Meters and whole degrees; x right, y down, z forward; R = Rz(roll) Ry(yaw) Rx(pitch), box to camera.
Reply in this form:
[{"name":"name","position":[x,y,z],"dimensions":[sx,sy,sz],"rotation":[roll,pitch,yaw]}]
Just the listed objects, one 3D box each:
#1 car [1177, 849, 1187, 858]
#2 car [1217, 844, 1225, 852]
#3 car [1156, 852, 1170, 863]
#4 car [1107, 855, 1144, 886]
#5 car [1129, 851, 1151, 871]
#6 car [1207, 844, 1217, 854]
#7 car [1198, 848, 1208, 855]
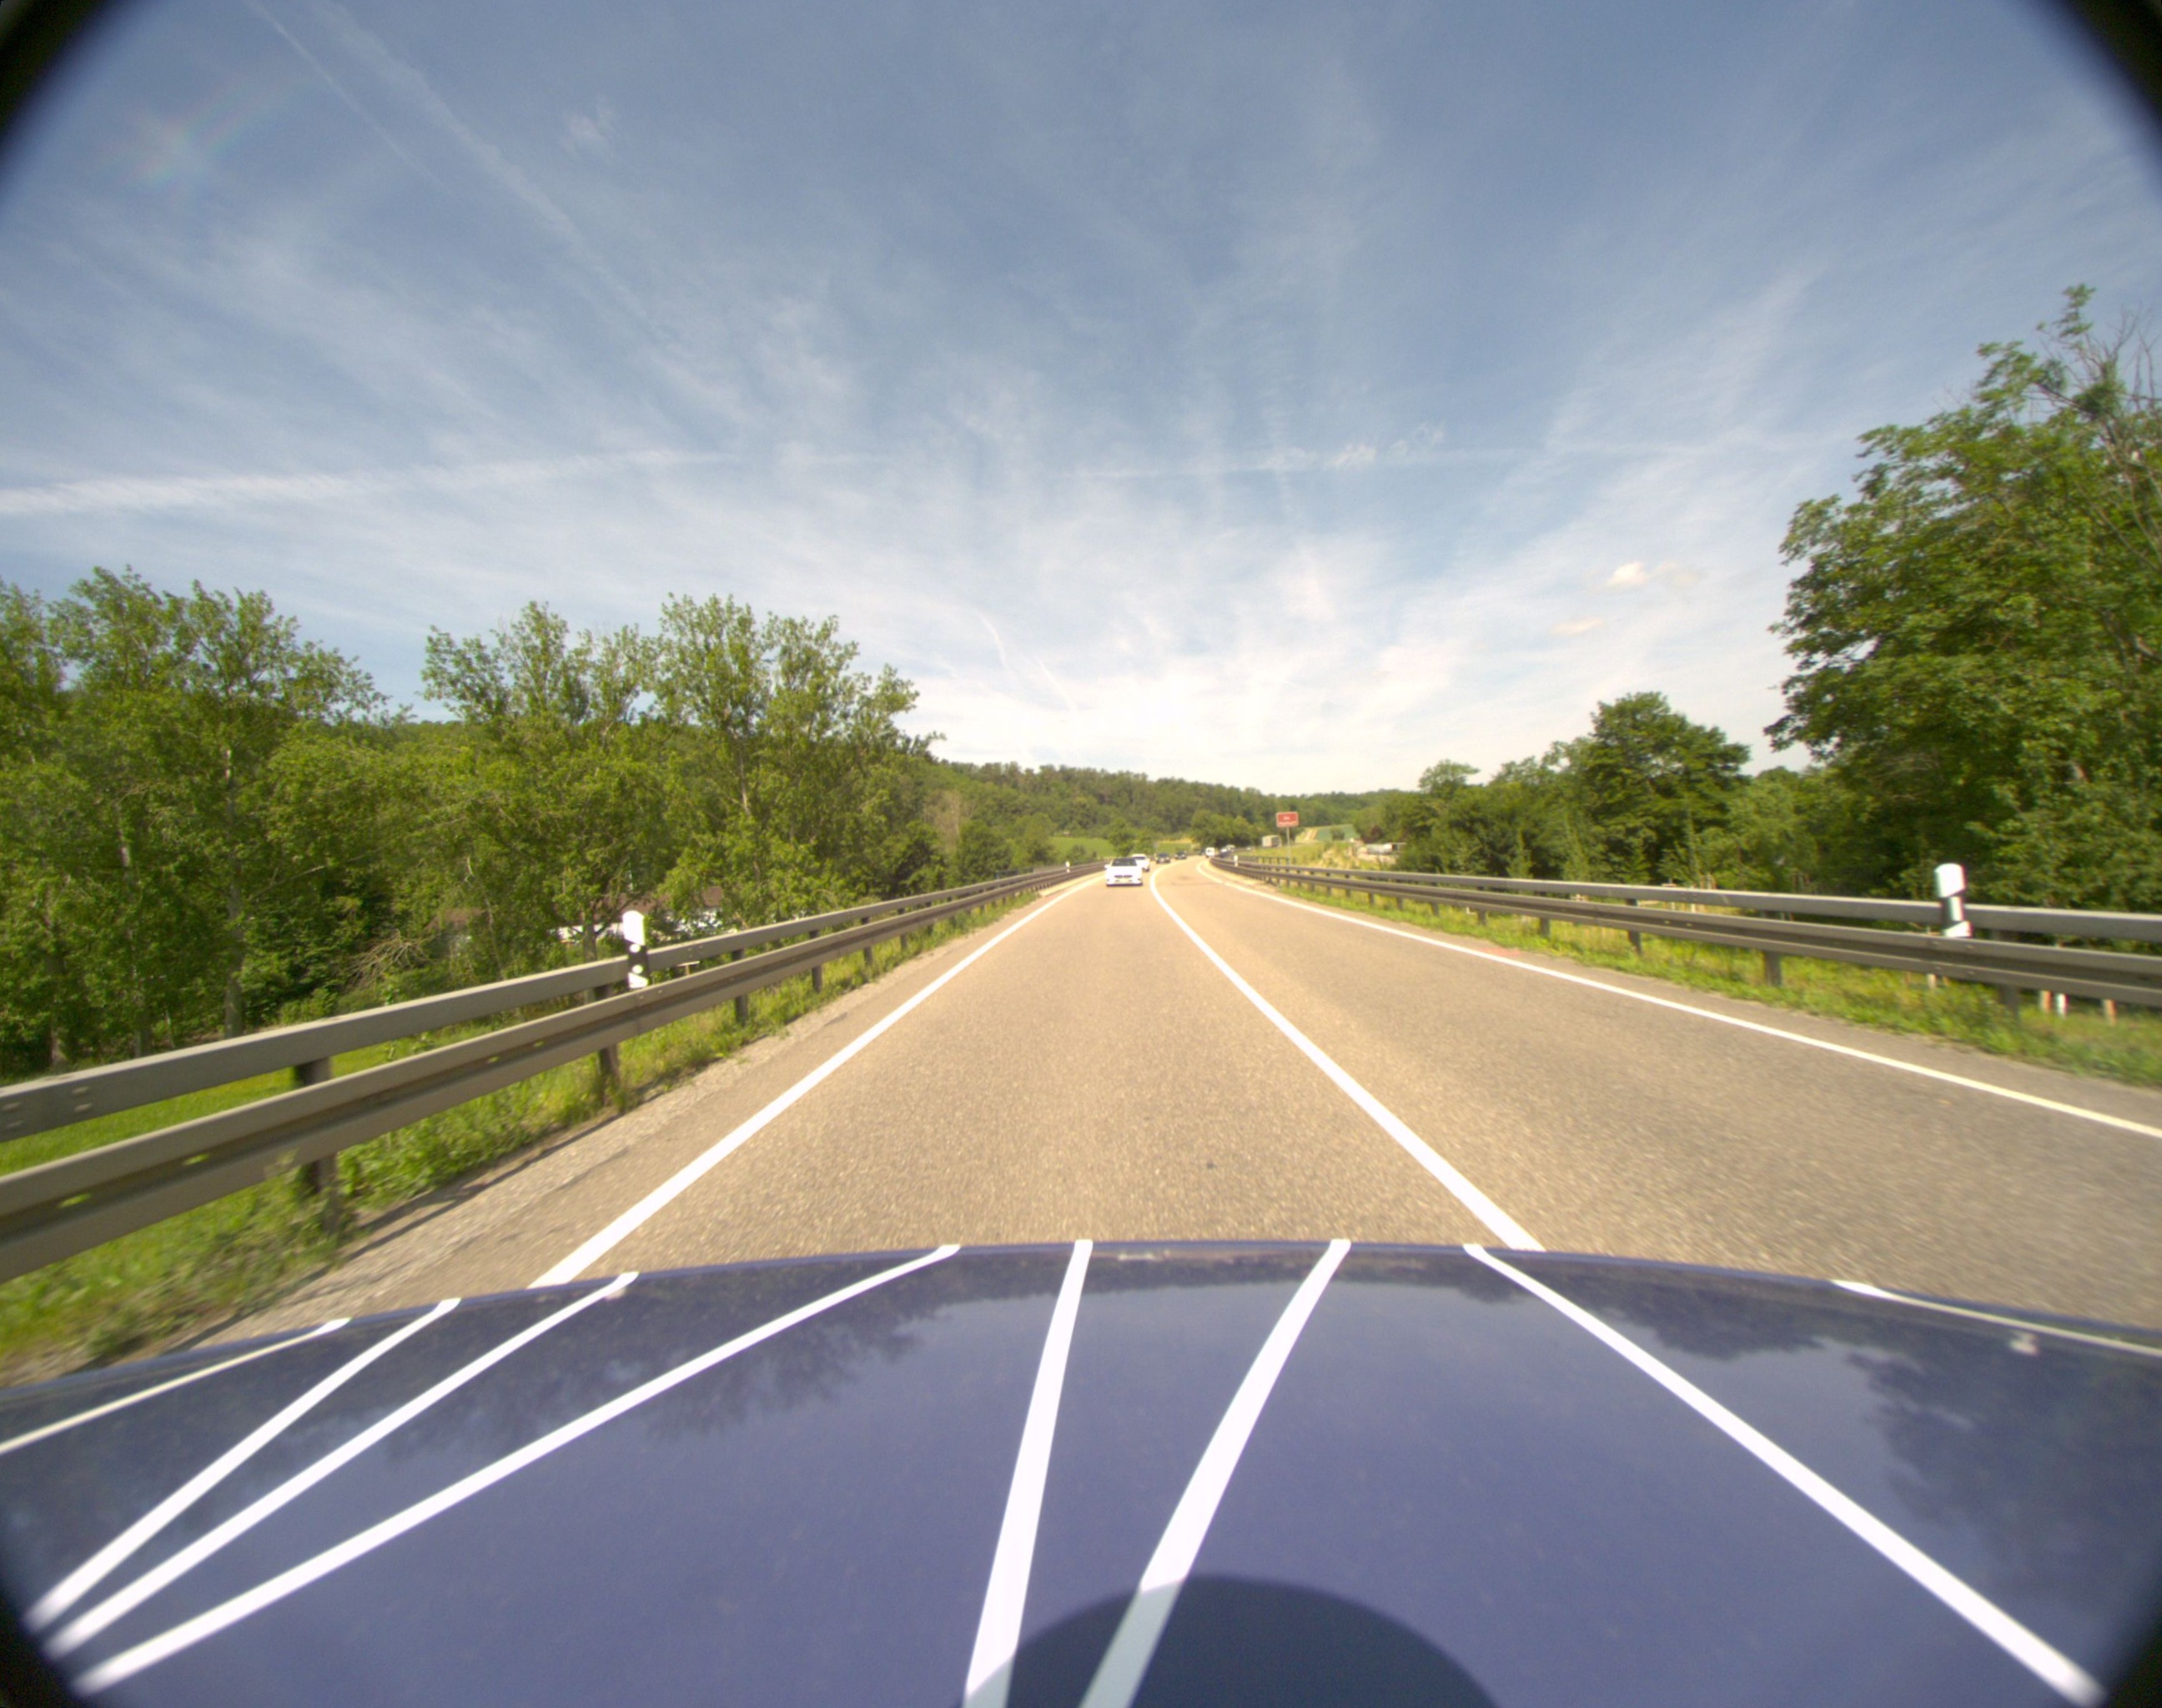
[{"name":"car","position":[17.714,-0.093,133.101],"dimensions":[1.741,1.445,4.038],"rotation":[-2,1,9]},{"name":"car","position":[31.158,-1.406,169.044],"dimensions":[1.741,1.602,3.811],"rotation":[-2,1,11]},{"name":"car","position":[11.231,0.465,104.098],"dimensions":[1.742,1.445,4.037],"rotation":[-2,1,6]},{"name":"car","position":[2.347,0.820,39.491],"dimensions":[1.742,1.445,4.037],"rotation":[-2,1,5]},{"name":"car","position":[5.112,0.586,65.468],"dimensions":[1.717,1.523,4.001],"rotation":[-2,1,6]},{"name":"car","position":[24.012,-0.896,139.521],"dimensions":[1.741,1.765,4.039],"rotation":[-2,1,11]},{"name":"car","position":[26.716,-0.516,166.362],"dimensions":[1.741,1.445,4.039],"rotation":[-2,1,12]}]
